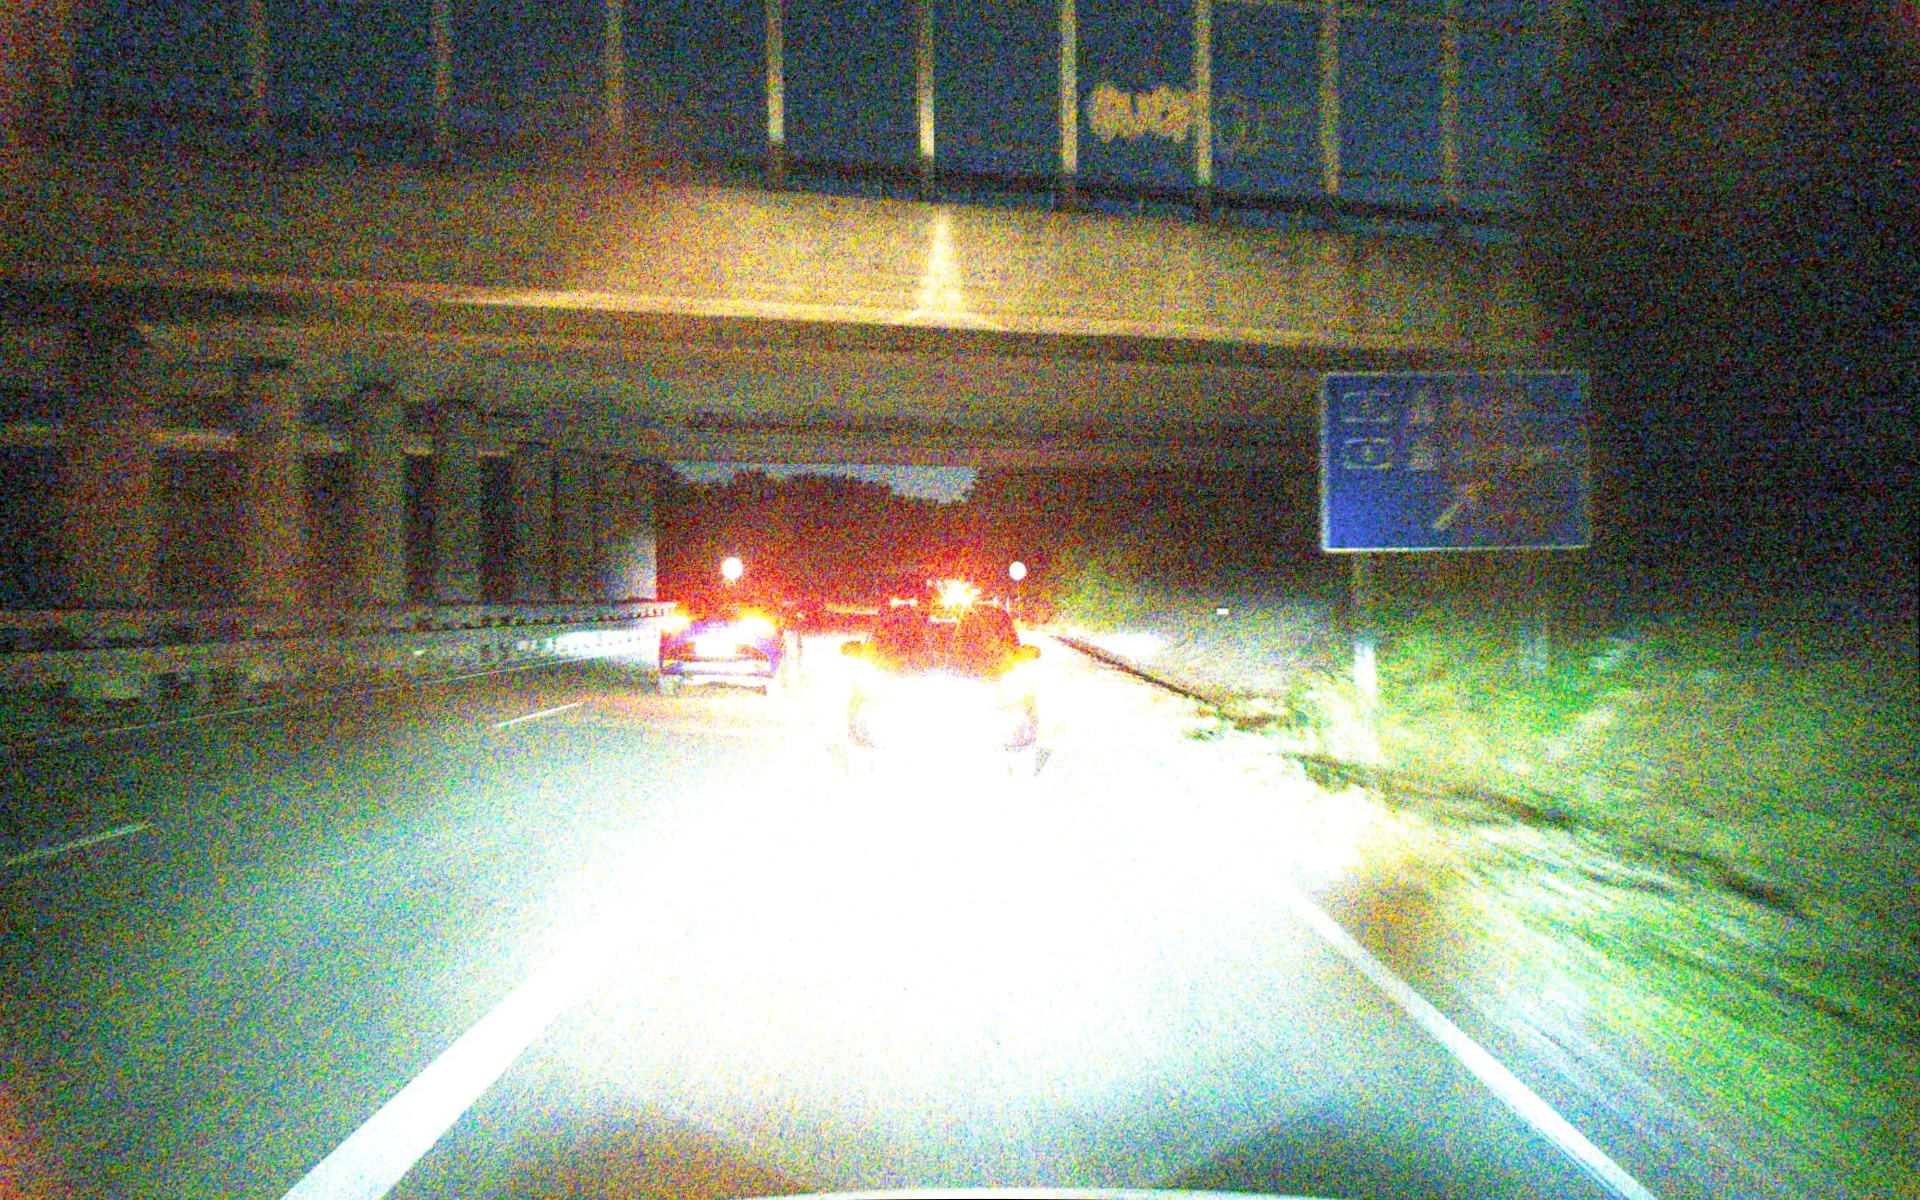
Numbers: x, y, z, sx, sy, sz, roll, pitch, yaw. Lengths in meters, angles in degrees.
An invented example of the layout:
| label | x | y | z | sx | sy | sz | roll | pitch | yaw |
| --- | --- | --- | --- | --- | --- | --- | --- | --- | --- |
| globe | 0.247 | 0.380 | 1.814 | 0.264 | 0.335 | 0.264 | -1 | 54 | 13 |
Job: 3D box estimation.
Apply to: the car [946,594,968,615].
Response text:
| label | x | y | z | sx | sy | sz | roll | pitch | yaw |
| --- | --- | --- | --- | --- | --- | --- | --- | --- | --- |
| car | -0.236 | 0.339 | 132.333 | 1.698 | 1.646 | 3.797 | 1 | 0 | -1 |

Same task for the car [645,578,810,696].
| label | x | y | z | sx | sy | sz | roll | pitch | yaw |
| --- | --- | --- | --- | --- | --- | --- | --- | --- | --- |
| car | -3.510 | 0.511 | 25.775 | 1.900 | 1.636 | 4.643 | 1 | 0 | 0 |

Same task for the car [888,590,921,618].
| label | x | y | z | sx | sy | sz | roll | pitch | yaw |
| --- | --- | --- | --- | --- | --- | --- | --- | --- | --- |
| car | -3.541 | 0.252 | 105.874 | 1.912 | 1.565 | 4.240 | -4 | -1 | -1 |

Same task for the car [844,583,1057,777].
| label | x | y | z | sx | sy | sz | roll | pitch | yaw |
| --- | --- | --- | --- | --- | --- | --- | --- | --- | --- |
| car | -0.214 | 0.639 | 15.148 | 1.658 | 1.503 | 3.996 | 1 | 0 | -4 |
